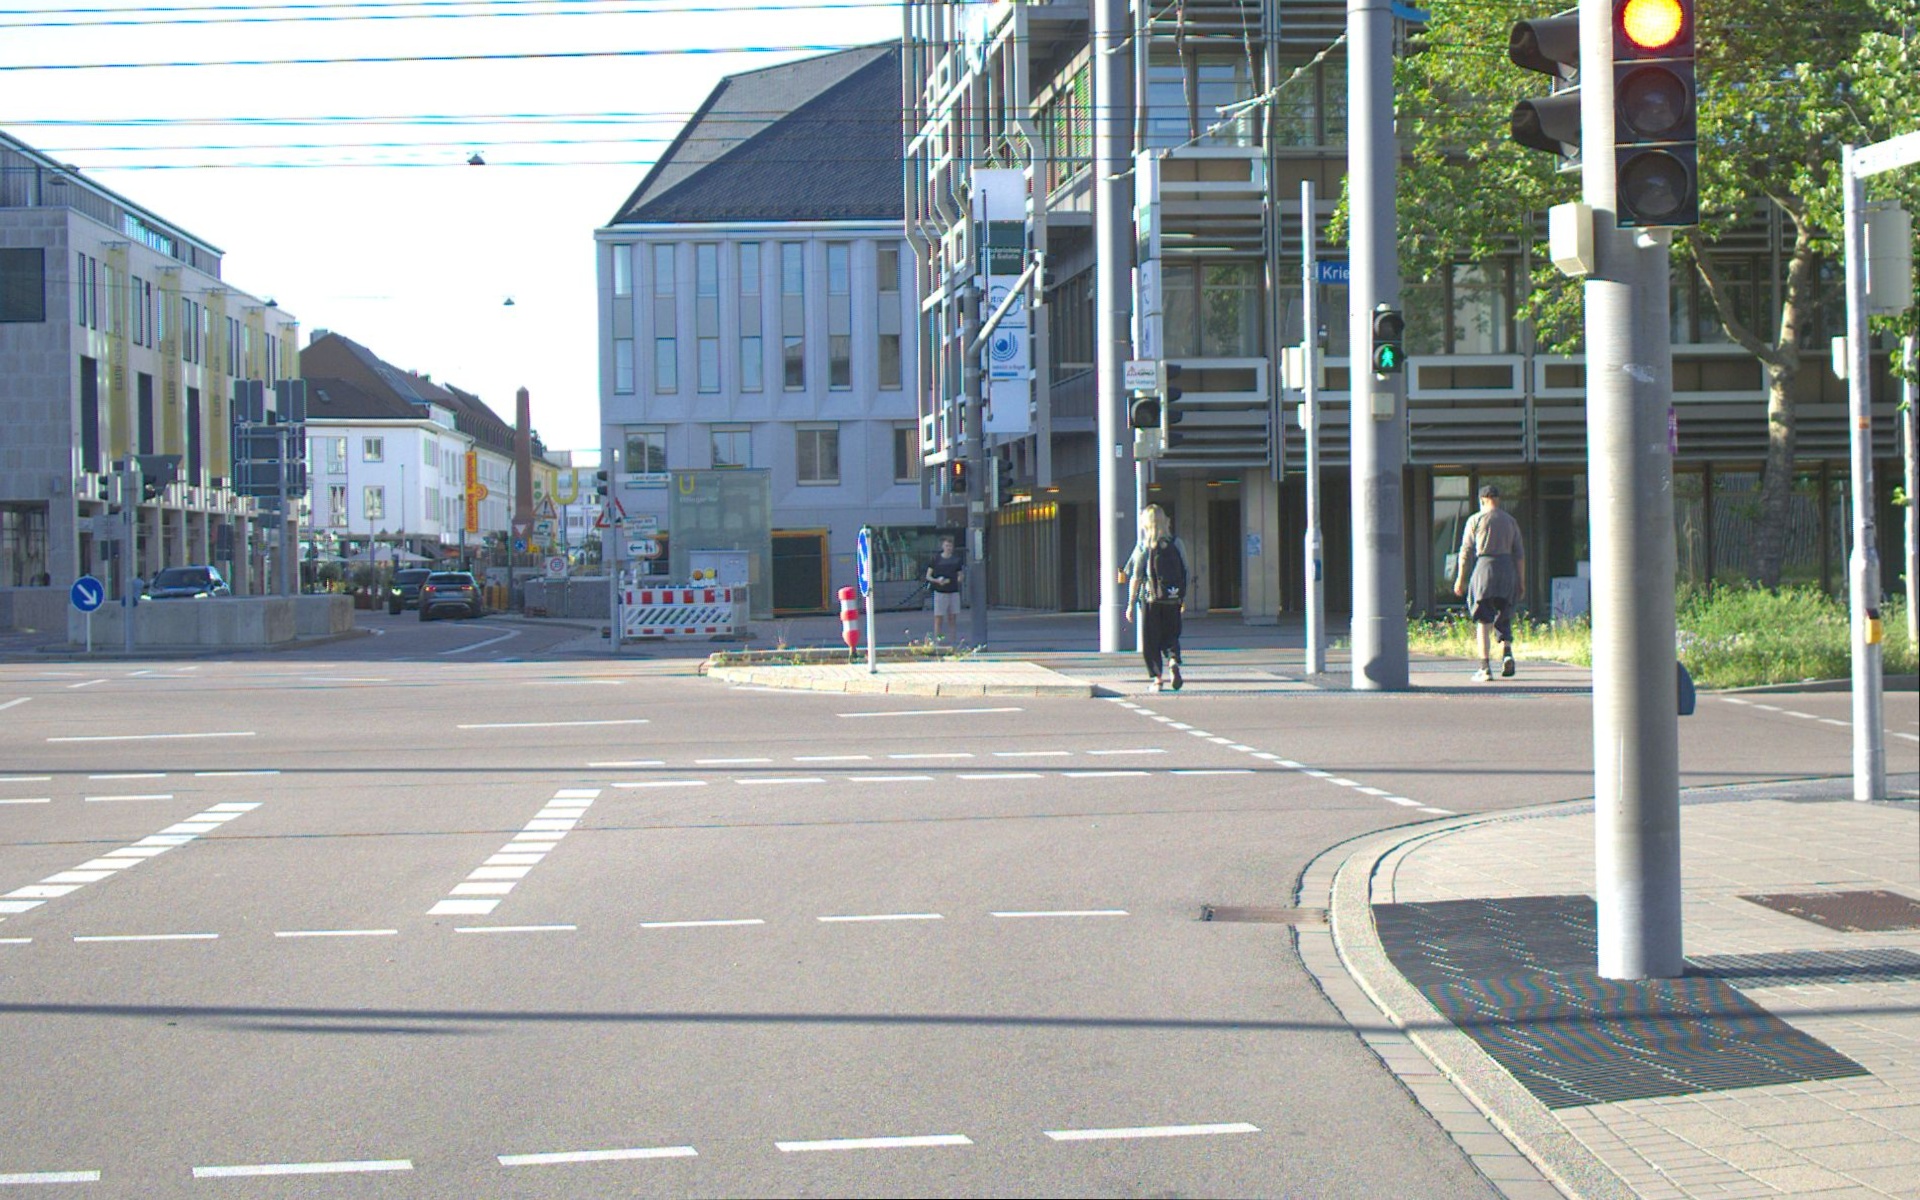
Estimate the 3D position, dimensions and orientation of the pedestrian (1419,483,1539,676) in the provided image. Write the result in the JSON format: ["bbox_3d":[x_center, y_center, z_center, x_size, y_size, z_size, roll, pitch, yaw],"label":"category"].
[{"bbox_3d":[4.576,-0.183,30.383,0.878,1.659,0.965,1,0,-1],"label":"pedestrian"}]

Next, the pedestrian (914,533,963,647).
[{"bbox_3d":[-0.367,-0.175,57.313,0.788,1.883,0.644,1,0,-1],"label":"pedestrian"}]

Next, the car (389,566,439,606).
[{"bbox_3d":[-23.317,-0.616,146.922,1.797,1.652,4.001,1,1,-4],"label":"car"}]

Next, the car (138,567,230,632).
[{"bbox_3d":[-20.487,-0.033,90.861,1.797,1.652,4.001,1,1,-4],"label":"car"}]

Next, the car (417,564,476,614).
[{"bbox_3d":[-16.140,-0.368,108.208,1.737,1.525,3.856,1,1,-7],"label":"car"}]

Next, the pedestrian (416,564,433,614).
[{"bbox_3d":[-18.224,-0.366,117.033,0.521,1.674,0.583,1,1,-7],"label":"pedestrian"}]

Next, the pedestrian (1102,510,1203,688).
[{"bbox_3d":[1.625,-0.011,29.117,0.788,1.487,0.644,1,0,-1],"label":"pedestrian"}]
